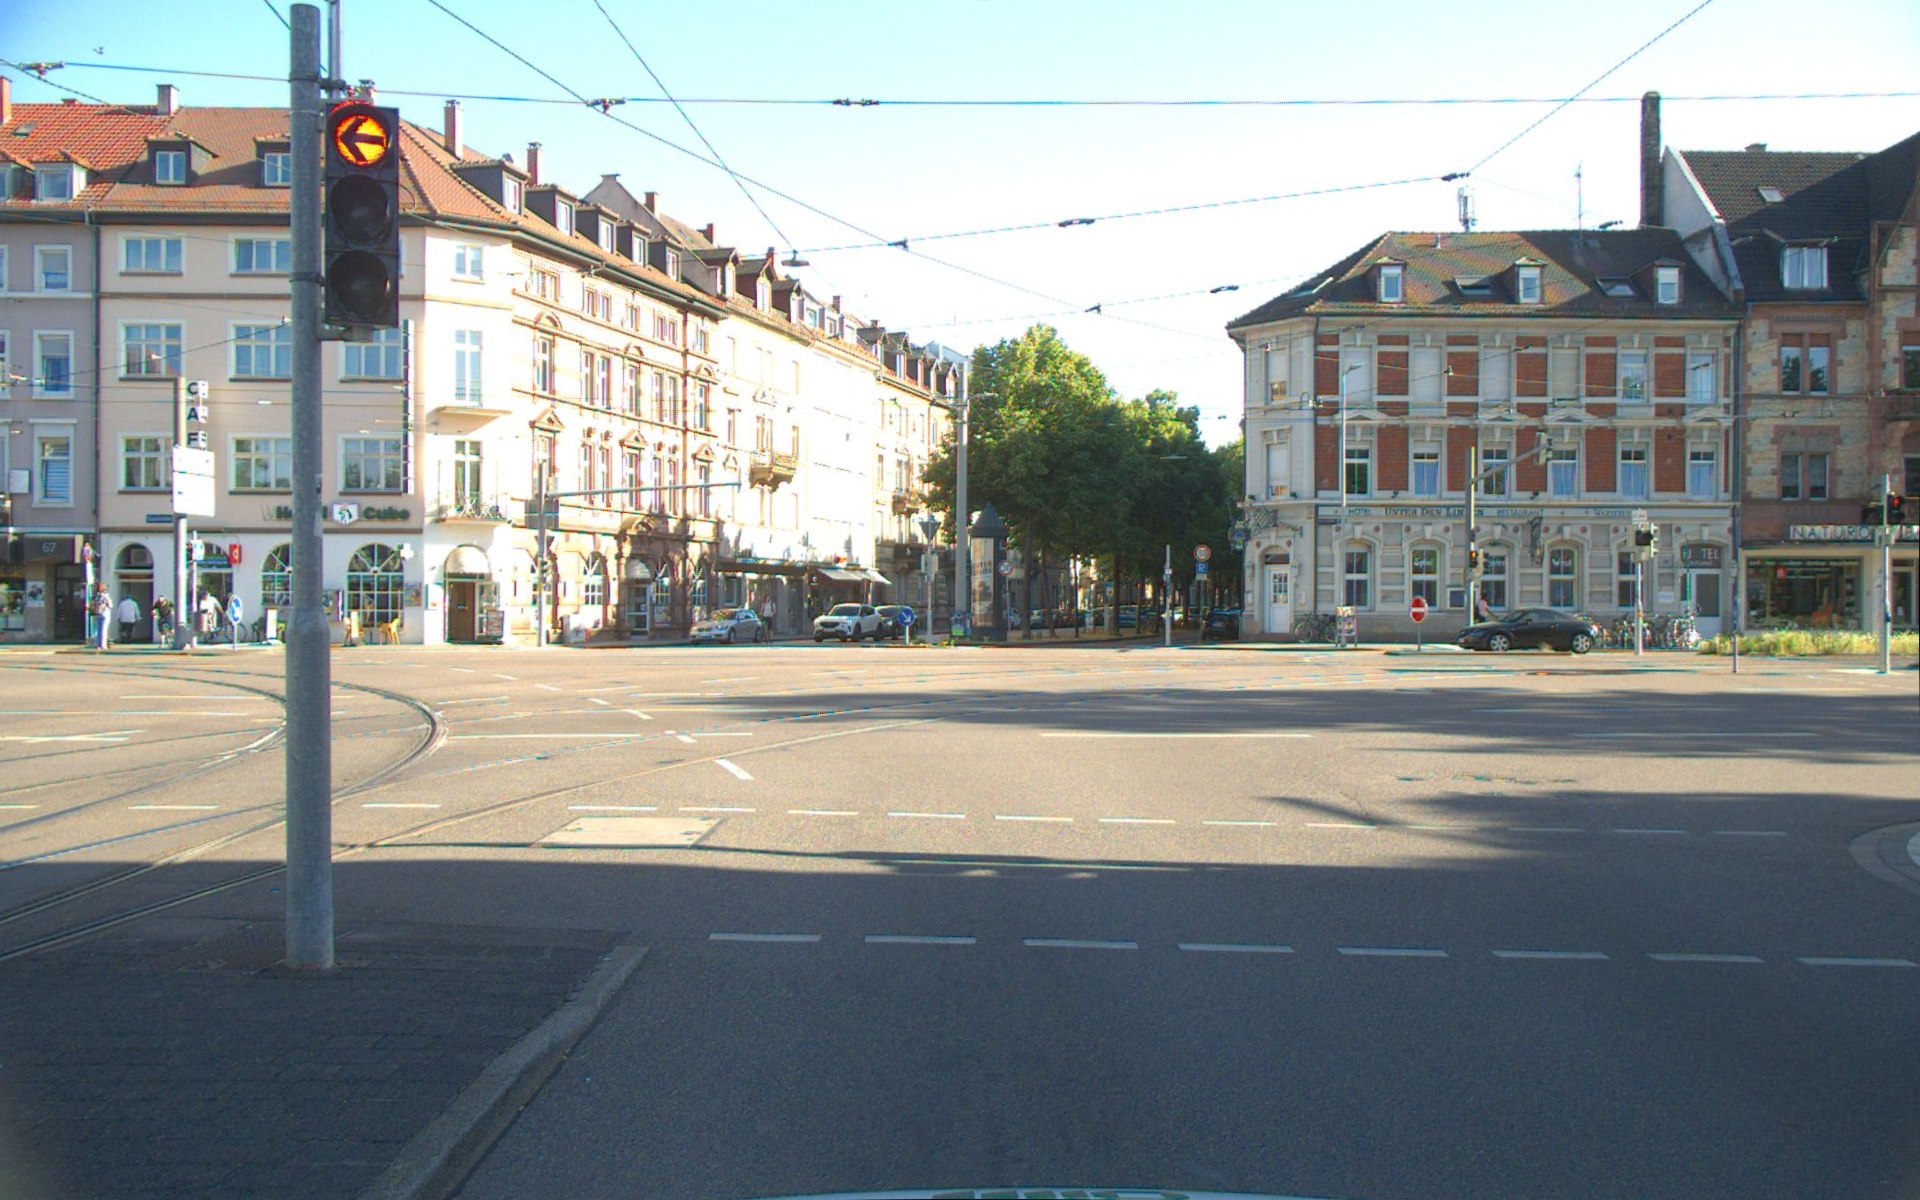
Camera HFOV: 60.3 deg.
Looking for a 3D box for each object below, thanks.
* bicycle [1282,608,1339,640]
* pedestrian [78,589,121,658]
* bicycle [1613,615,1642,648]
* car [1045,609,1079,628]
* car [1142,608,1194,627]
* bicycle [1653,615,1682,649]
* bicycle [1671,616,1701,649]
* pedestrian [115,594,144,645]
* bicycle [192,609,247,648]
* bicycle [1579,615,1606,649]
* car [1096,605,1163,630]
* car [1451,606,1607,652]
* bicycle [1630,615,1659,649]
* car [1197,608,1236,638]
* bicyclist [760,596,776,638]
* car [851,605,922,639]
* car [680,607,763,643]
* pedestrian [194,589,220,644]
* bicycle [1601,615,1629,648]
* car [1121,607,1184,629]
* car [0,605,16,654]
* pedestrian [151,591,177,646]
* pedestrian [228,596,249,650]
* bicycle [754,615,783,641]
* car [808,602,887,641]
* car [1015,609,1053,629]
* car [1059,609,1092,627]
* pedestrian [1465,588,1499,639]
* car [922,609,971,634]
[{"bbox_3d":[12.176,0.829,57.514,1.911,1.072,0.716,0,0,9],"label":"bicycle"},{"bbox_3d":[-21.420,0.572,41.179,0.725,1.711,0.628,0,0,-1],"label":"pedestrian"},{"bbox_3d":[21.612,1.011,53.553,0.476,1.038,1.785,0,0,9],"label":"bicycle"},{"bbox_3d":[8.142,1.432,131.508,1.951,1.429,4.172,0,0,15],"label":"car"},{"bbox_3d":[14.045,1.150,111.662,3.360,1.261,1.578,0,0,10],"label":"car"},{"bbox_3d":[22.905,1.034,53.561,0.476,1.038,1.785,0,0,9],"label":"bicycle"},{"bbox_3d":[23.589,1.046,53.743,0.476,1.038,1.785,0,0,9],"label":"bicycle"},{"bbox_3d":[-28.344,0.667,56.464,0.727,1.711,0.626,0,0,-12],"label":"pedestrian"},{"bbox_3d":[-25.286,0.978,56.513,1.684,1.299,0.385,0,0,-18],"label":"bicycle"},{"bbox_3d":[20.473,1.024,53.576,0.476,1.038,1.785,0,0,9],"label":"bicycle"},{"bbox_3d":[10.249,1.038,99.824,3.902,1.480,1.683,0,0,10],"label":"car"},{"bbox_3d":[16.570,0.837,48.309,3.977,1.323,1.722,0,0,-1],"label":"car"},{"bbox_3d":[22.110,1.020,53.481,0.476,1.038,1.785,0,0,9],"label":"bicycle"},{"bbox_3d":[12.853,1.142,82.706,1.717,1.445,4.003,0,0,12],"label":"car"},{"bbox_3d":[-7.548,0.653,65.068,0.479,1.629,0.667,0,0,9],"label":"bicyclist"},{"bbox_3d":[-3.226,0.953,73.580,1.951,1.429,4.172,0,0,15],"label":"car"},{"bbox_3d":[-9.600,0.985,66.882,1.951,1.385,3.821,0,0,15],"label":"car"},{"bbox_3d":[-23.594,0.524,51.853,0.731,1.711,0.623,0,0,-26],"label":"pedestrian"},{"bbox_3d":[21.162,1.003,53.485,0.476,1.038,1.785,0,0,9],"label":"bicycle"},{"bbox_3d":[12.316,1.140,105.563,3.902,1.311,1.696,0,0,10],"label":"car"},{"bbox_3d":[-32.133,0.901,52.156,3.651,1.517,1.818,1,0,2],"label":"car"},{"bbox_3d":[-24.953,0.584,51.835,0.731,1.711,0.623,0,0,-26],"label":"pedestrian"},{"bbox_3d":[-17.201,0.545,39.424,0.358,1.275,0.449,0,0,-12],"label":"pedestrian"},{"bbox_3d":[-7.557,1.098,65.168,0.641,1.018,1.666,1,0,11],"label":"bicycle"},{"bbox_3d":[-4.531,0.847,67.388,1.951,1.542,4.172,0,0,15],"label":"car"},{"bbox_3d":[5.475,1.377,122.641,1.951,1.429,4.172,0,0,15],"label":"car"},{"bbox_3d":[9.571,1.479,136.726,1.951,1.429,4.172,0,0,15],"label":"car"},{"bbox_3d":[17.991,0.469,57.034,1.013,1.741,0.630,1,-1,8],"label":"pedestrian"},{"bbox_3d":[-0.819,1.317,102.057,1.951,1.429,4.172,0,0,15],"label":"car"}]
